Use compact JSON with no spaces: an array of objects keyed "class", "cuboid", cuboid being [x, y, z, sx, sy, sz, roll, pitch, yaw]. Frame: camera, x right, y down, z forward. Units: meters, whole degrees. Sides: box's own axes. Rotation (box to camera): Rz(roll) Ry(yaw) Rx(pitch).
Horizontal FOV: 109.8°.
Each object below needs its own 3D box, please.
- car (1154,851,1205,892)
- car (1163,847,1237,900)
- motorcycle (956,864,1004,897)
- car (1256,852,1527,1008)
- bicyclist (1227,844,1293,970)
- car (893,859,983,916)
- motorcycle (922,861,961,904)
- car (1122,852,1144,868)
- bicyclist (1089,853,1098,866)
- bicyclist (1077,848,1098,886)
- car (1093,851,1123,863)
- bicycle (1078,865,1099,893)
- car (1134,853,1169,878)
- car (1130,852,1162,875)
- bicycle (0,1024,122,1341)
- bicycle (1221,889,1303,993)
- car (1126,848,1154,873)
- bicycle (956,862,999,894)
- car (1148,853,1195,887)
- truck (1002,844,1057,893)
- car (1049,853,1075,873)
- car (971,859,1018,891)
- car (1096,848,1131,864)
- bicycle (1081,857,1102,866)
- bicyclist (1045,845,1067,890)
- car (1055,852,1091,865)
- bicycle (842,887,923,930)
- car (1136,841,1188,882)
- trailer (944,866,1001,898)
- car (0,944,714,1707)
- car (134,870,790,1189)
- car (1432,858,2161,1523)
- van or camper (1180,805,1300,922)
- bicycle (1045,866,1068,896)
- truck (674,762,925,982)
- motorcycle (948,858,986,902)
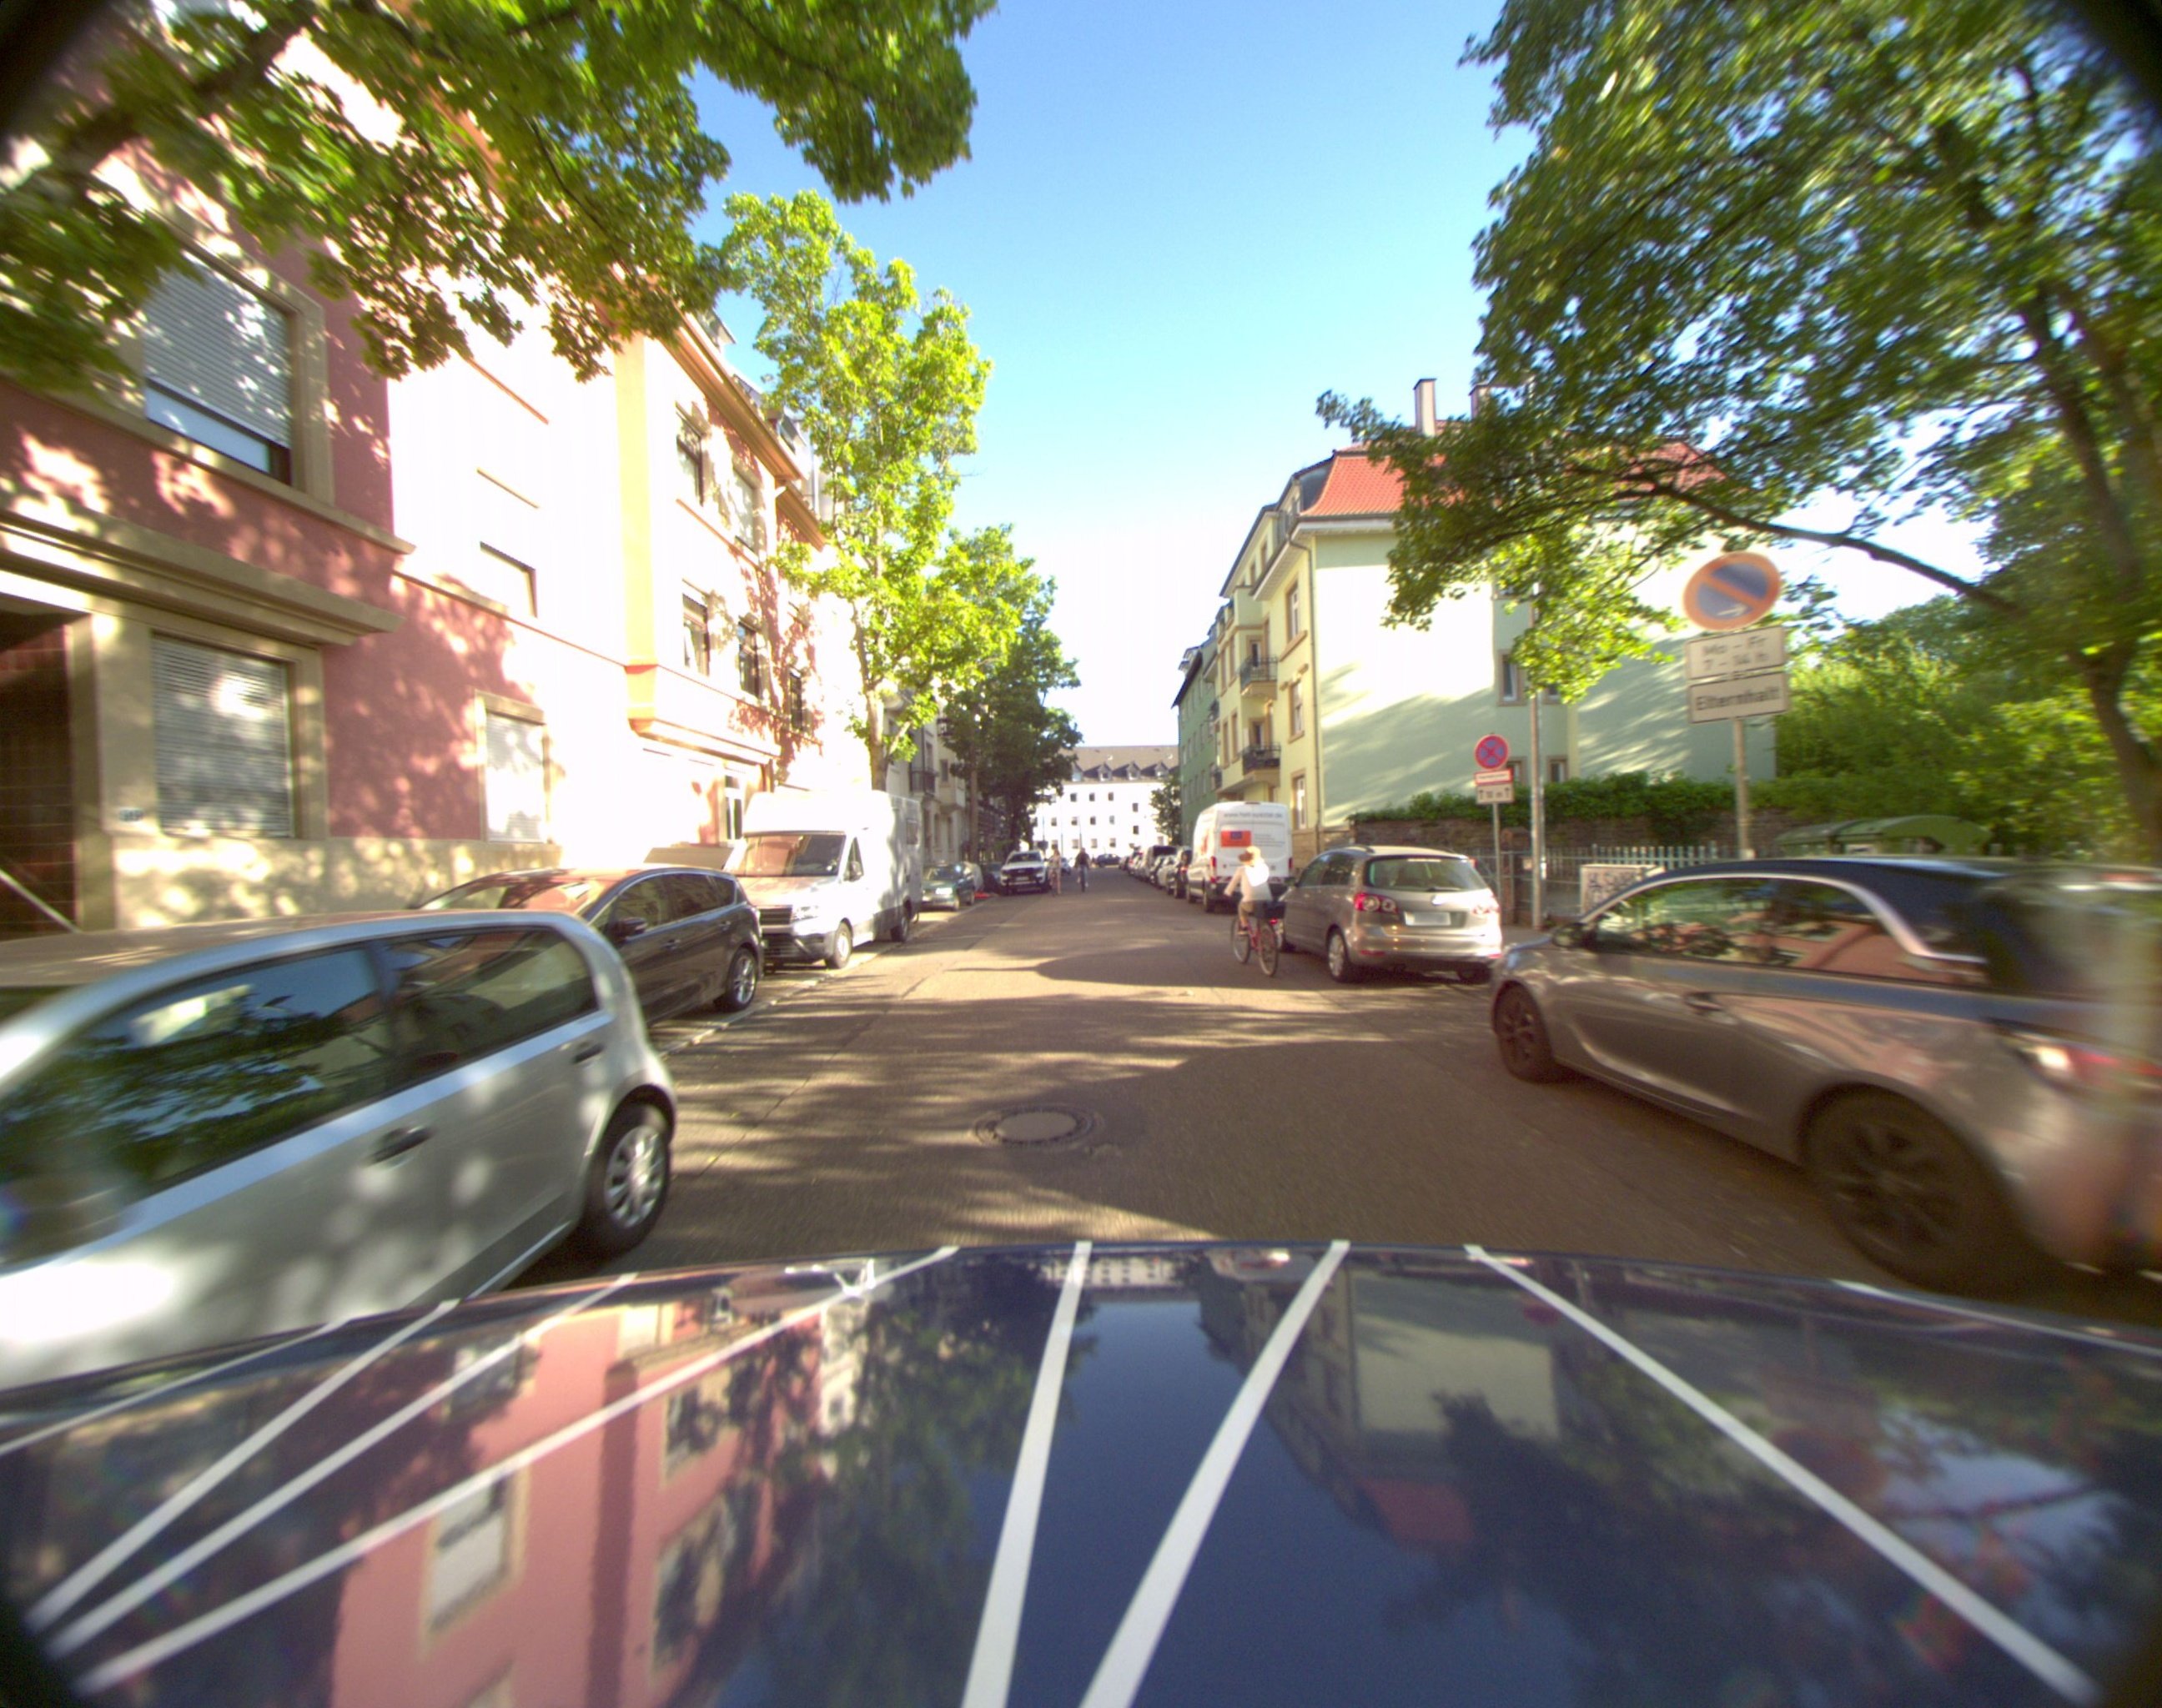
[{"class":"car","cuboid":[4.046,0.691,31.725,1.639,1.543,4.088,-1,1,0]},{"class":"car","cuboid":[4.040,0.614,26.652,1.880,1.675,4.969,0,0,1]},{"class":"motorcycle","cuboid":[-4.097,1.063,30.937,1.768,1.233,0.700,-3,1,-38]},{"class":"car","cuboid":[3.703,0.777,10.042,1.785,1.581,4.468,0,0,1]},{"class":"bicyclist","cuboid":[2.223,0.636,9.493,0.653,1.500,0.625,-2,1,3]},{"class":"car","cuboid":[-4.390,0.980,24.086,1.755,1.520,4.781,-1,0,2]},{"class":"motorcycle","cuboid":[-5.064,1.013,27.649,0.863,1.408,2.234,-3,0,2]},{"class":"car","cuboid":[4.910,0.544,72.144,1.770,1.444,4.207,1,0,0]},{"class":"bicyclist","cuboid":[1.318,0.546,81.637,0.897,1.361,0.563,-3,2,-6]},{"class":"bicyclist","cuboid":[0.273,0.532,31.840,0.757,1.556,0.981,-3,1,-2]},{"class":"car","cuboid":[3.516,0.393,98.903,3.613,1.440,1.553,-2,2,-7]},{"class":"bicycle","cuboid":[0.294,1.041,31.861,0.741,1.054,1.857,-3,1,-2]},{"class":"car","cuboid":[4.404,0.692,48.170,1.837,1.454,4.362,1,1,0]},{"class":"car","cuboid":[4.494,0.633,53.193,1.724,1.454,4.505,1,1,-2]},{"class":"bicycle","cuboid":[-5.155,1.330,3.078,1.815,1.160,0.569,0,1,0]},{"class":"bicycle","cuboid":[2.247,1.046,9.621,0.666,1.071,1.685,-2,1,2]},{"class":"car","cuboid":[4.525,0.441,59.105,1.776,1.832,4.415,0,1,-1]},{"class":"bicycle","cuboid":[-4.511,1.039,33.249,1.763,1.297,0.586,-2,1,0]},{"class":"car","cuboid":[4.273,0.715,36.479,1.771,1.512,4.825,-1,0,1]},{"class":"truck","cuboid":[-2.151,0.578,33.456,1.833,1.937,5.541,-2,0,1]},{"class":"car","cuboid":[-1.533,0.700,62.351,1.806,1.526,3.964,-3,0,2]},{"class":"car","cuboid":[-4.162,0.997,37.172,1.684,1.414,4.430,0,0,1]},{"class":"car","cuboid":[3.864,0.213,89.592,3.817,1.772,1.925,-3,1,-6]},{"class":"bicycle","cuboid":[1.124,0.814,81.632,2.103,0.892,0.601,-3,1,-5]},{"class":"bicyclist","cuboid":[-0.956,0.517,29.377,0.716,1.679,0.981,-4,1,0]},{"class":"car","cuboid":[-1.034,0.531,98.389,4.493,1.498,1.944,-2,0,-5]},{"class":"bicycle","cuboid":[-4.798,1.312,18.423,1.789,0.943,0.579,-2,1,3]},{"class":"car","cuboid":[4.439,0.383,42.522,2.257,2.156,5.242,1,1,-1]},{"class":"trailer","cuboid":[-4.232,1.073,29.579,2.088,1.106,1.114,-2,1,-13]},{"class":"car","cuboid":[-2.684,1.257,1.809,1.683,1.535,3.800,-3,0,0]},{"class":"car","cuboid":[-4.569,1.082,6.928,1.890,1.706,4.943,-1,0,0]},{"class":"car","cuboid":[3.532,0.842,3.839,1.680,1.563,4.152,1,0,2]},{"class":"van or camper","cuboid":[4.137,0.200,20.874,2.134,2.753,5.851,0,0,1]},{"class":"bicycle","cuboid":[-0.925,1.030,29.408,0.707,1.039,1.857,-5,1,1]},{"class":"truck","cuboid":[-4.439,0.235,13.326,2.079,2.951,6.108,1,0,0]},{"class":"motorcycle","cuboid":[-4.119,0.929,27.656,0.932,1.477,2.138,-2,0,2]}]
